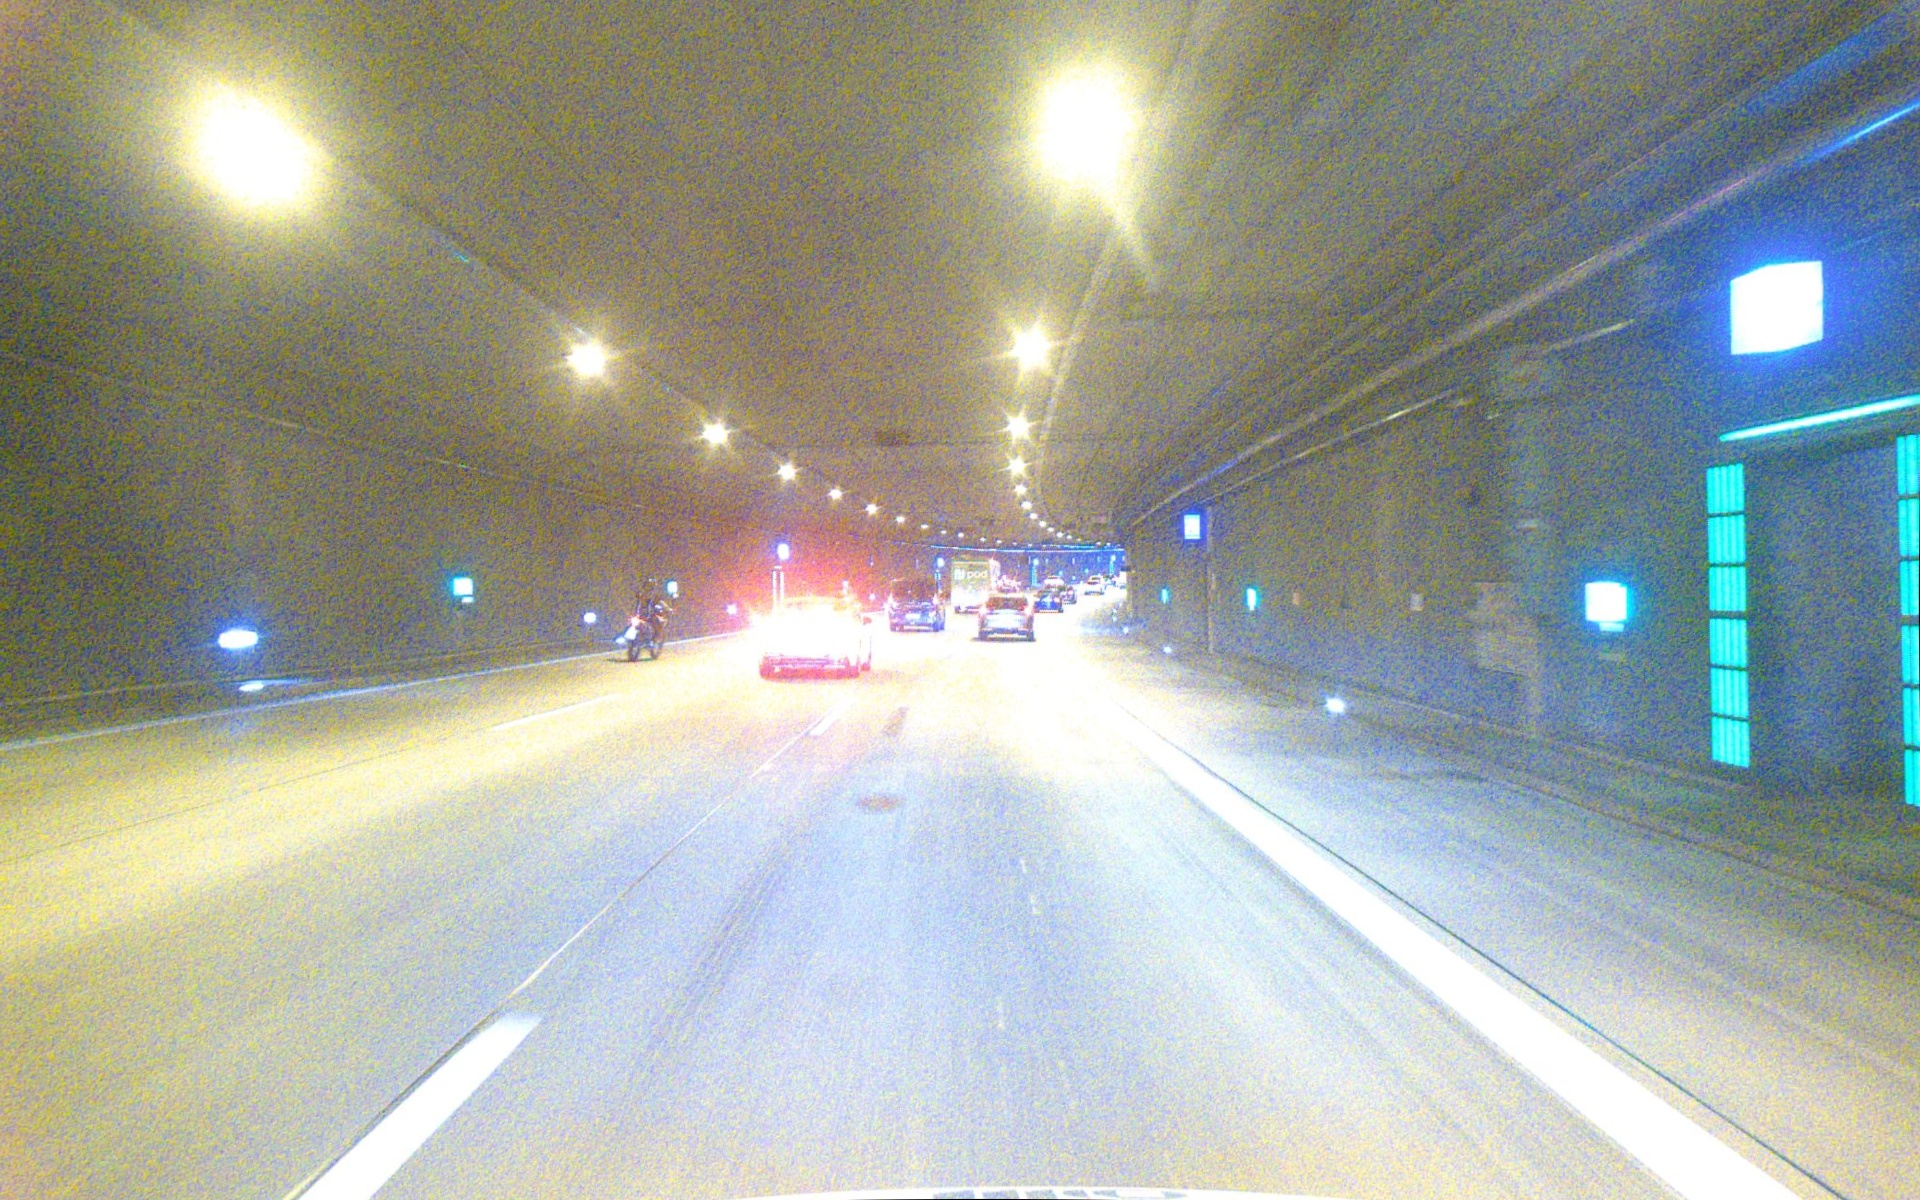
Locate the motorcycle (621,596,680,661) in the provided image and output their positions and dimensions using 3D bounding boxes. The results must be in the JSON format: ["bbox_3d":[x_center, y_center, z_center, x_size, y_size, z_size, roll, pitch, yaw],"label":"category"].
[{"bbox_3d":[-6.465,0.572,34.652,0.668,1.319,2.399,0,0,3],"label":"motorcycle"}]

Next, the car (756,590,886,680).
[{"bbox_3d":[-2.485,0.581,30.732,1.666,1.443,5.063,0,1,4],"label":"car"}]

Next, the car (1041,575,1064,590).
[{"bbox_3d":[10.358,-1.940,185.250,1.889,1.671,4.003,1,0,12],"label":"car"}]

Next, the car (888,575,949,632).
[{"bbox_3d":[-1.528,0.084,61.706,1.869,1.978,3.874,0,2,5],"label":"car"}]

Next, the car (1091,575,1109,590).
[{"bbox_3d":[16.093,-2.003,189.875,1.951,1.660,4.003,1,0,7],"label":"car"}]

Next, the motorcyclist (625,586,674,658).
[{"bbox_3d":[-6.498,0.451,34.627,0.761,1.478,1.069,1,-1,3],"label":"motorcyclist"}]

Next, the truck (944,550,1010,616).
[{"bbox_3d":[1.052,-0.961,97.878,2.974,3.737,7.398,1,0,8],"label":"truck"}]

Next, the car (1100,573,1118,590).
[{"bbox_3d":[18.480,-2.264,205.015,1.951,2.049,4.003,1,0,8],"label":"car"}]

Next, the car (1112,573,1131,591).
[{"bbox_3d":[19.343,-2.107,198.338,1.951,2.049,4.003,1,0,10],"label":"car"}]

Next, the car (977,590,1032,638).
[{"bbox_3d":[1.473,0.452,53.415,1.706,1.490,3.872,0,-1,3],"label":"car"}]

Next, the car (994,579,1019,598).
[{"bbox_3d":[4.277,-1.063,151.186,1.889,1.671,4.003,1,0,7],"label":"car"}]

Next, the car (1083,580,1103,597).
[{"bbox_3d":[13.302,-1.153,165.586,1.889,1.671,4.003,1,0,6],"label":"car"}]

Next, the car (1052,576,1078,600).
[{"bbox_3d":[8.155,-0.923,128.364,1.909,1.803,4.002,1,0,4],"label":"car"}]

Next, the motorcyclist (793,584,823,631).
[{"bbox_3d":[-4.849,0.256,52.808,0.790,1.473,1.864,1,-1,-1],"label":"motorcyclist"}]

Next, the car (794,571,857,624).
[{"bbox_3d":[-5.332,-0.107,65.998,1.952,2.049,4.002,1,0,3],"label":"car"}]

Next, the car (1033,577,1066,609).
[{"bbox_3d":[5.458,-0.416,100.615,1.818,1.887,4.002,1,0,5],"label":"car"}]

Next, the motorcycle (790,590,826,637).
[{"bbox_3d":[-4.839,0.424,52.800,0.907,1.459,2.962,1,0,-2],"label":"motorcycle"}]
